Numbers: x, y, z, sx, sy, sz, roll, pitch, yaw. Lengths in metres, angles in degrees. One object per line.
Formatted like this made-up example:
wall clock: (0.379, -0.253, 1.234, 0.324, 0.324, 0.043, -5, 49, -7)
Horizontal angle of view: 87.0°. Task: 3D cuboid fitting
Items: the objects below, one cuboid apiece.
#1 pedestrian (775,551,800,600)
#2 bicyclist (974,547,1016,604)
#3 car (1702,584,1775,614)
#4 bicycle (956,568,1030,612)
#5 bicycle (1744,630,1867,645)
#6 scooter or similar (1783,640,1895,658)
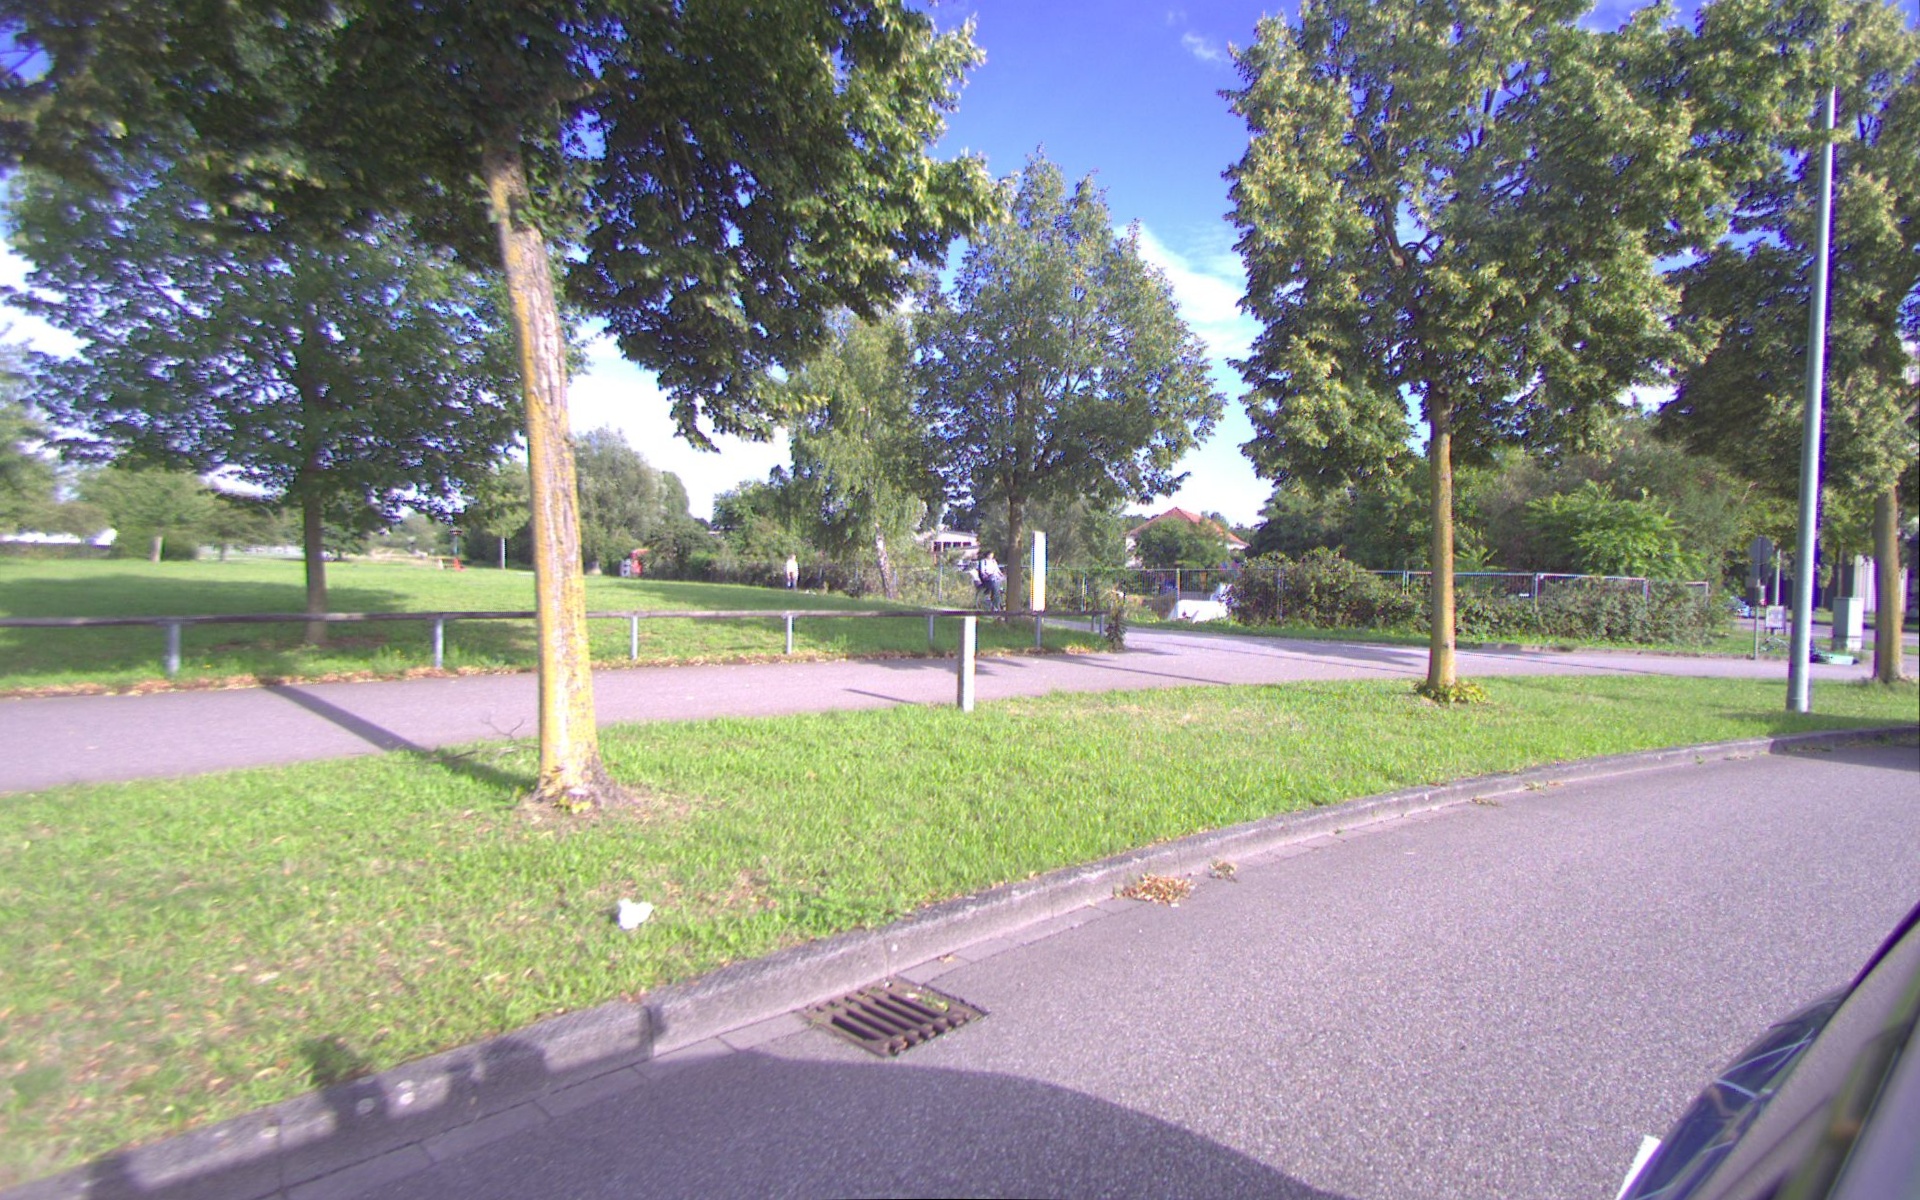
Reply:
pedestrian: (-6.273, -0.905, 36.784, 0.656, 1.753, 0.596, 0, 2, -41)
bicyclist: (0.986, -0.705, 28.413, 0.788, 1.566, 0.906, 1, 2, -31)
car: (49.928, -0.103, 65.025, 1.971, 1.682, 4.782, 2, 2, 15)
bicycle: (0.890, -0.303, 28.562, 0.788, 1.140, 2.605, 1, 2, -30)
bicycle: (22.055, 0.971, 26.472, 1.067, 0.350, 2.254, 1, -1, -17)
scooter or similar: (20.699, 1.151, 23.873, 1.522, 0.284, 1.295, 2, 2, -7)
